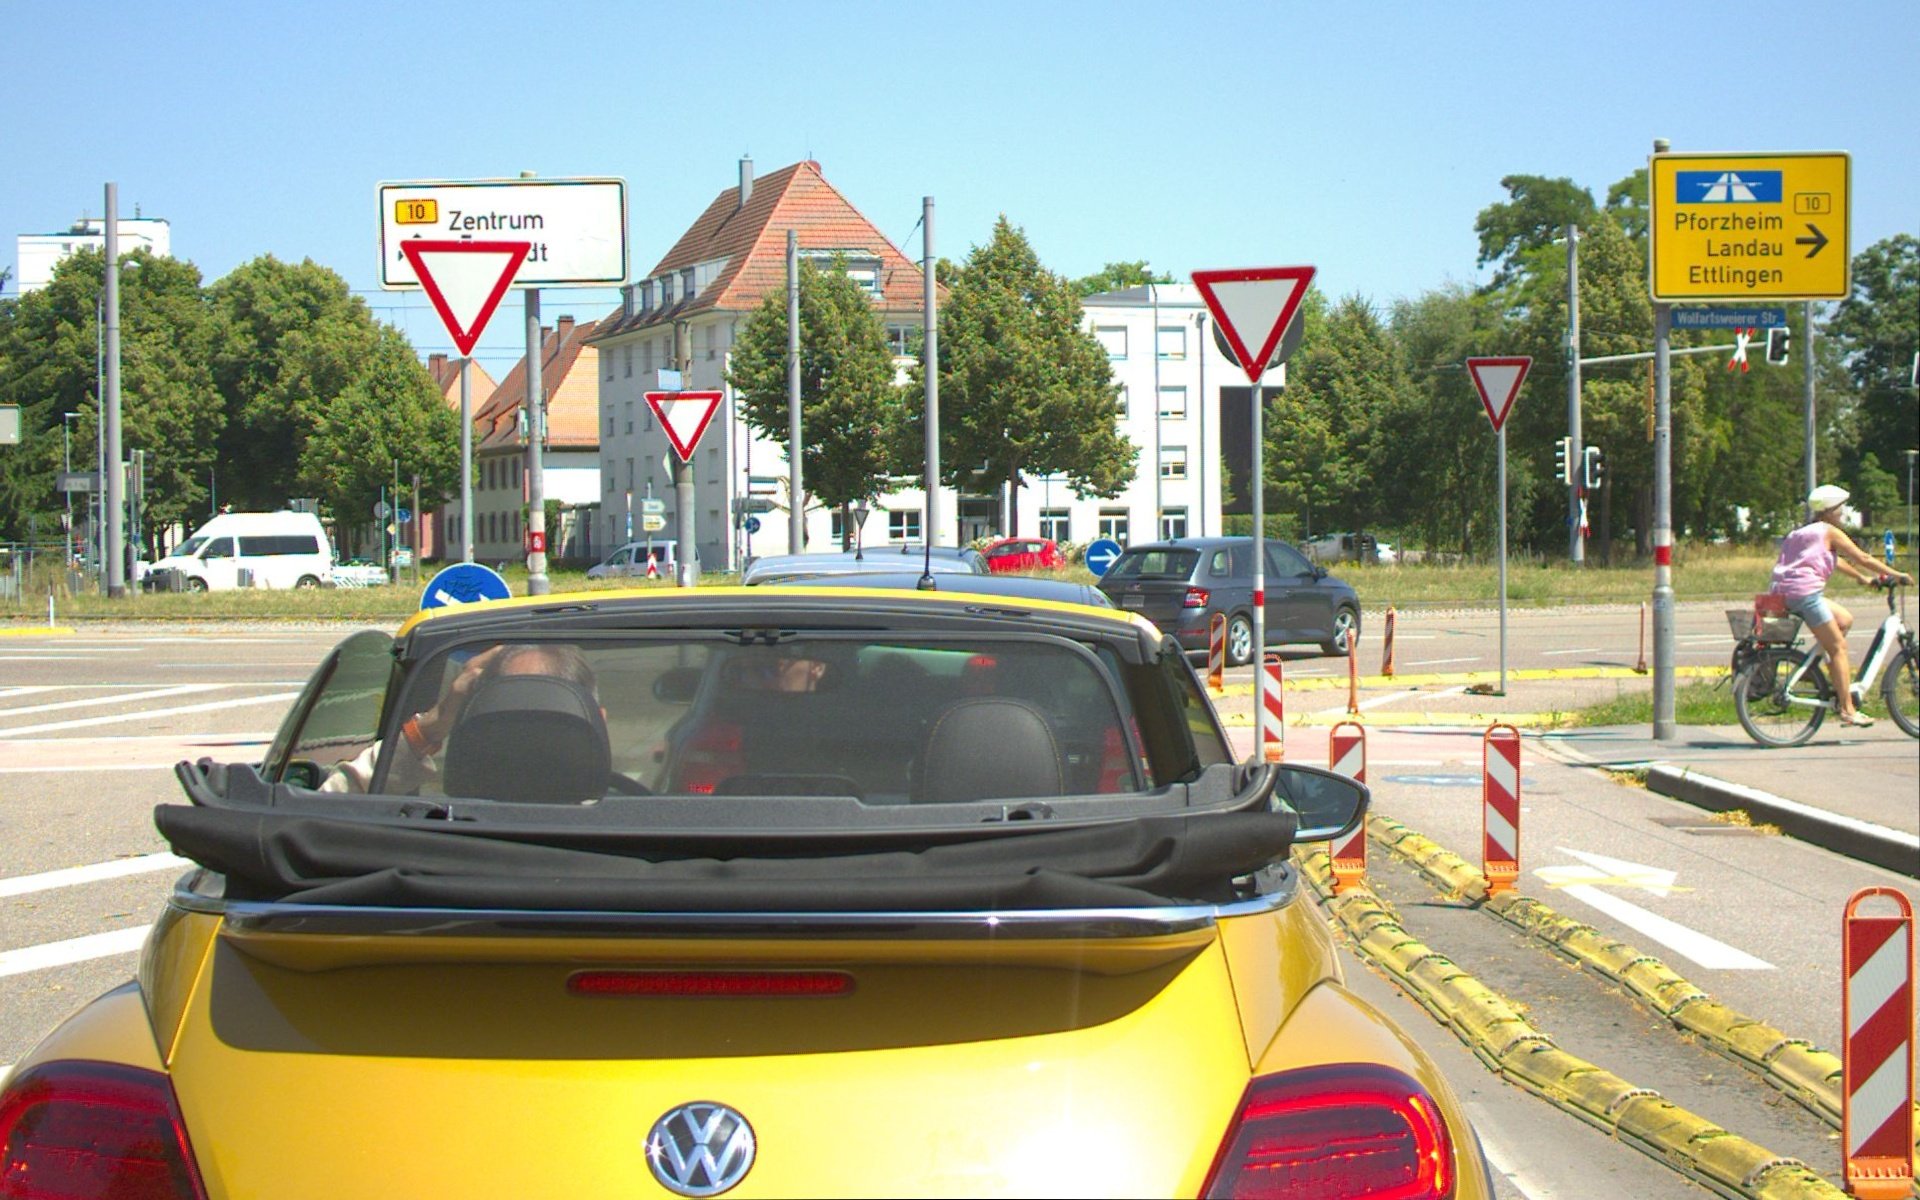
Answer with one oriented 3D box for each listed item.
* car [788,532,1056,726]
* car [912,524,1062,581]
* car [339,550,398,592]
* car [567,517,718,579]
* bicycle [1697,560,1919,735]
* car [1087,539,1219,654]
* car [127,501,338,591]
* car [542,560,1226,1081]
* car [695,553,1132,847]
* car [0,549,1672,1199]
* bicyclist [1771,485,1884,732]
[{"bbox_3d":[-0.323,0.182,29.040,2.065,1.476,4.543,-1,1,-1],"label":"car"},{"bbox_3d":[0.833,-1.443,104.916,4.334,1.648,1.900,1,0,9],"label":"car"},{"bbox_3d":[-25.637,-1.279,148.982,1.884,1.766,4.001,1,1,-19],"label":"car"},{"bbox_3d":[-10.845,-1.793,117.269,5.324,2.063,1.989,1,1,41],"label":"car"},{"bbox_3d":[6.434,0.333,24.819,2.092,1.217,0.634,-1,1,2],"label":"bicycle"},{"bbox_3d":[2.187,-0.056,39.527,1.434,1.254,3.217,1,1,2],"label":"car"},{"bbox_3d":[-19.911,-1.463,94.186,5.312,2.389,1.993,0,1,-39],"label":"car"},{"bbox_3d":[-0.230,0.579,11.527,1.851,1.361,4.258,-1,1,-1],"label":"car"},{"bbox_3d":[-0.206,0.455,18.539,2.065,1.377,4.258,1,1,0],"label":"car"},{"bbox_3d":[-0.275,0.679,5.227,1.765,1.476,4.258,1,1,-1],"label":"car"},{"bbox_3d":[6.264,0.053,24.837,0.670,1.746,0.592,-1,2,4],"label":"bicyclist"}]
